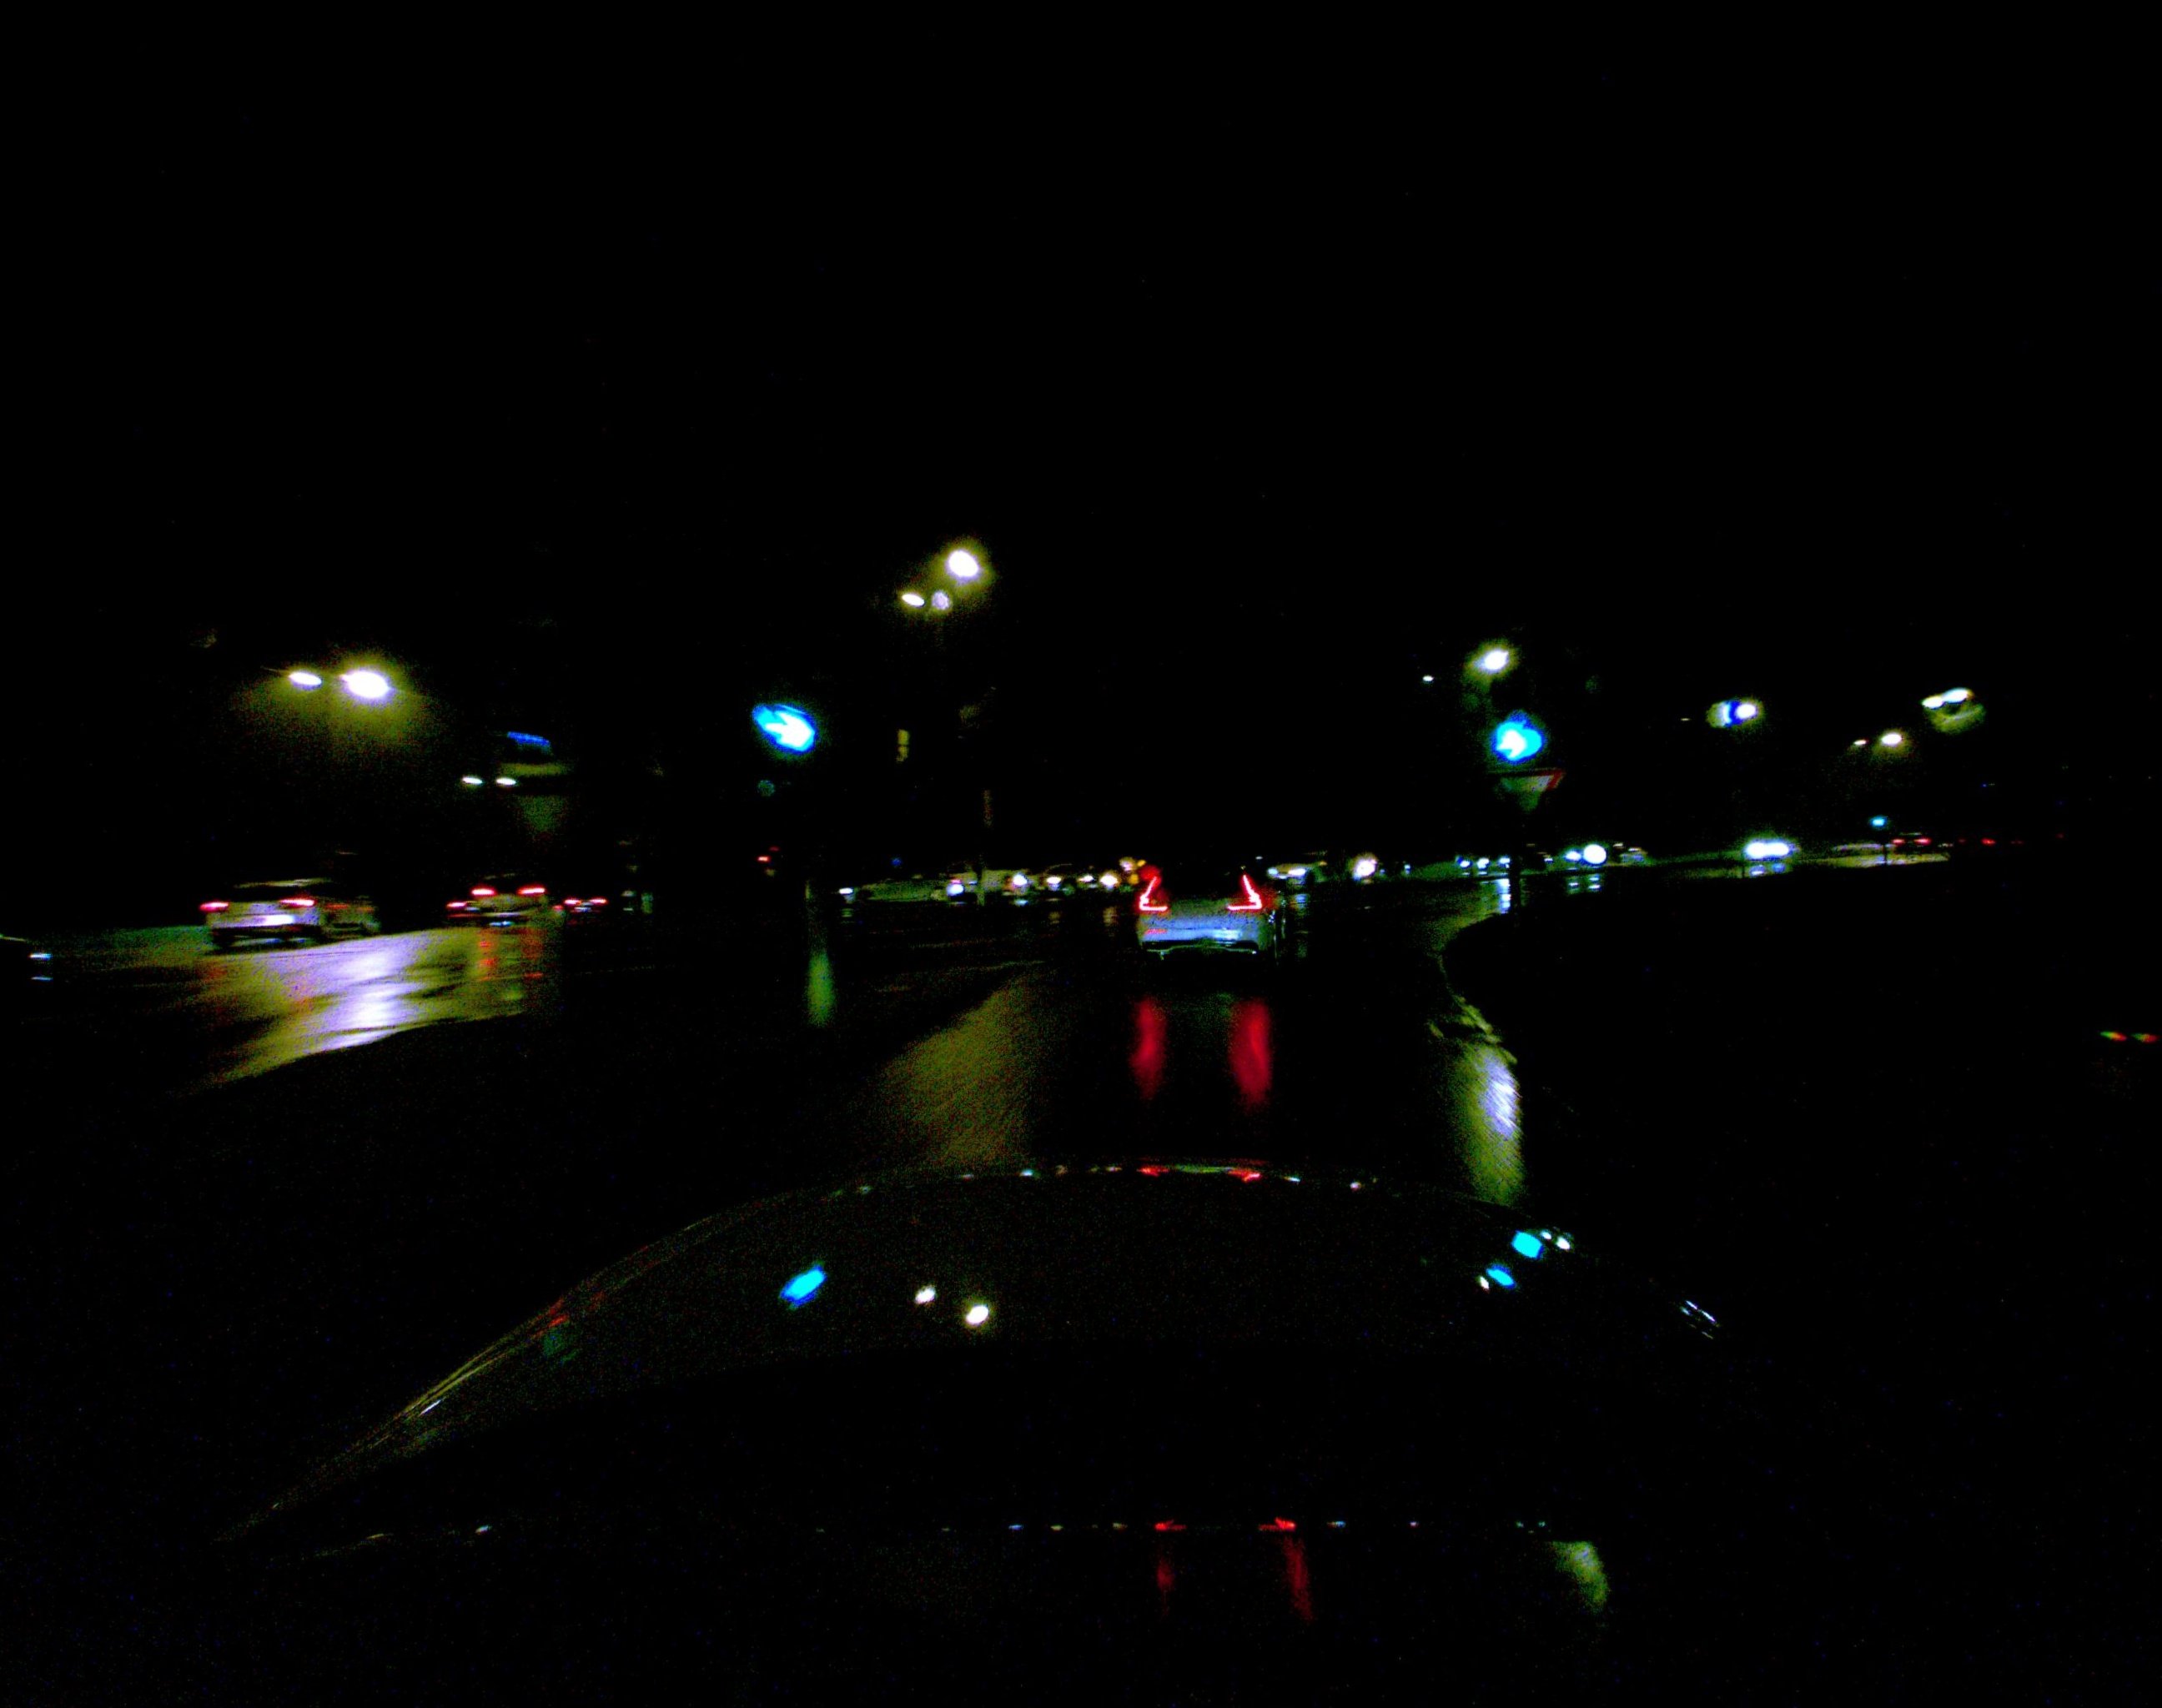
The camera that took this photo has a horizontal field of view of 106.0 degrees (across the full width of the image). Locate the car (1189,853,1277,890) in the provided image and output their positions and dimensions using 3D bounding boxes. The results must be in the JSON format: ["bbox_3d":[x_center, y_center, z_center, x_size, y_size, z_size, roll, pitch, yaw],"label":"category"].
[{"bbox_3d":[7.641,0.880,40.932,4.265,1.799,1.786,0,-2,-32],"label":"car"}]

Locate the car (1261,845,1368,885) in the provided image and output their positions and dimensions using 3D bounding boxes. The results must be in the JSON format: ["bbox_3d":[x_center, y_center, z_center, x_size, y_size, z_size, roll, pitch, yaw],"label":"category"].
[{"bbox_3d":[9.787,0.420,34.007,4.427,1.484,1.765,-1,1,-31],"label":"car"}]

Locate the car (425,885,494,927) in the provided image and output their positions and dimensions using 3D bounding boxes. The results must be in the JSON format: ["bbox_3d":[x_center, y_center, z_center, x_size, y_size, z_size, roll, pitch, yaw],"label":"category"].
[{"bbox_3d":[-26.646,2.181,35.041,1.922,1.658,3.946,-1,-2,-31],"label":"car"}]

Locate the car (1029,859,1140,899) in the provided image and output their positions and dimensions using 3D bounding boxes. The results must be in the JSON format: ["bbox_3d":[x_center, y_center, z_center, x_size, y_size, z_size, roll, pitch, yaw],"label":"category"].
[{"bbox_3d":[0.143,0.978,32.124,4.068,1.487,1.702,0,-2,-29],"label":"car"}]

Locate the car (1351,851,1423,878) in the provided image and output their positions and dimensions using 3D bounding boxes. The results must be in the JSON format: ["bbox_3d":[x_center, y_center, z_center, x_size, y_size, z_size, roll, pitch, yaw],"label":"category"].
[{"bbox_3d":[17.510,0.611,46.602,4.054,1.377,1.747,-2,-1,-33],"label":"car"}]

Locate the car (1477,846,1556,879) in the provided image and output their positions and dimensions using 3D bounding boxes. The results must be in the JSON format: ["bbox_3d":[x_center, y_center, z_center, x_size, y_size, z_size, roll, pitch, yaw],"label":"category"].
[{"bbox_3d":[23.164,0.443,43.311,4.322,1.578,1.799,-1,-2,-33],"label":"car"}]

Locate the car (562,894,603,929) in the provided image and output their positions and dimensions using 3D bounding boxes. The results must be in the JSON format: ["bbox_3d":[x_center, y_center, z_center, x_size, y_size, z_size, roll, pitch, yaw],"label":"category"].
[{"bbox_3d":[-28.133,3.197,46.033,1.840,1.653,4.435,1,-1,-31],"label":"car"}]

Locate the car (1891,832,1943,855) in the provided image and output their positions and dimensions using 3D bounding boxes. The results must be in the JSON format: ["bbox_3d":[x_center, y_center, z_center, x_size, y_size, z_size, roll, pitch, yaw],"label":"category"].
[{"bbox_3d":[64.532,-0.813,62.852,4.017,1.601,2.161,1,2,-36],"label":"car"}]

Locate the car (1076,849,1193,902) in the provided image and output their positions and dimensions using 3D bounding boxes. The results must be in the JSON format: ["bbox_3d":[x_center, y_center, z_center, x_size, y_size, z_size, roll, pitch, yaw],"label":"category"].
[{"bbox_3d":[1.972,0.731,29.605,3.914,1.725,1.748,-1,0,-30],"label":"car"}]

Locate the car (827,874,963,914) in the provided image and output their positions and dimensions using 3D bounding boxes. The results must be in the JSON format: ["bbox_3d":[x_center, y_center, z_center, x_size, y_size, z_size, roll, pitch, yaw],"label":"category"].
[{"bbox_3d":[-7.148,1.503,31.443,4.819,1.427,1.748,0,-2,-32],"label":"car"}]

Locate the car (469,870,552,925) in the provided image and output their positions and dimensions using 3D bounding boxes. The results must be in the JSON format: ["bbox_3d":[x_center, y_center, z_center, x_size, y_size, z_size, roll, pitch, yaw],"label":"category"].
[{"bbox_3d":[-18.049,1.340,25.925,1.862,1.592,3.983,0,-2,-31],"label":"car"}]

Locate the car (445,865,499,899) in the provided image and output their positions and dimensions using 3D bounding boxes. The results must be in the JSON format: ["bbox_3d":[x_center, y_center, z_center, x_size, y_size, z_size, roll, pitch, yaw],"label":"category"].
[{"bbox_3d":[-38.717,1.779,51.908,1.783,2.079,3.969,1,-2,-23],"label":"car"}]

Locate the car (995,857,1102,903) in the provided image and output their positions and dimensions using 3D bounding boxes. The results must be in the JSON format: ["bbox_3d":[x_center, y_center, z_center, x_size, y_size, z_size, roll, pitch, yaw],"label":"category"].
[{"bbox_3d":[-1.367,1.099,35.015,4.299,1.848,1.747,0,-2,-32],"label":"car"}]

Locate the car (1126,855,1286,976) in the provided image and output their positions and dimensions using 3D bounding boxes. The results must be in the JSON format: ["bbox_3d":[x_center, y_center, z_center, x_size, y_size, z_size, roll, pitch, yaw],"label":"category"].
[{"bbox_3d":[2.043,0.752,12.158,1.782,1.452,4.287,-1,0,16],"label":"car"}]

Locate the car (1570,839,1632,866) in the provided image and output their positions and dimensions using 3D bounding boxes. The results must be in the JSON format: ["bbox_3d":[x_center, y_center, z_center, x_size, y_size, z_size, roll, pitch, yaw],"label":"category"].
[{"bbox_3d":[34.607,-0.084,54.212,4.504,1.666,1.786,1,-1,-33],"label":"car"}]

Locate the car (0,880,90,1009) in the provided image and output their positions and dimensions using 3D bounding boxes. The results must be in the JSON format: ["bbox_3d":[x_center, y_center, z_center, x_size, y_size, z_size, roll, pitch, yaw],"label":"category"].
[{"bbox_3d":[-12.541,1.004,7.885,1.836,1.408,4.094,0,-1,-19],"label":"car"}]

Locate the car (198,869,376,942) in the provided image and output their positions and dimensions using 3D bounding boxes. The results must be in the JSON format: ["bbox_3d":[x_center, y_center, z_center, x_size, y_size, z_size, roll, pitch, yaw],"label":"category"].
[{"bbox_3d":[-18.158,1.105,18.883,1.746,1.436,4.252,1,-1,-27],"label":"car"}]

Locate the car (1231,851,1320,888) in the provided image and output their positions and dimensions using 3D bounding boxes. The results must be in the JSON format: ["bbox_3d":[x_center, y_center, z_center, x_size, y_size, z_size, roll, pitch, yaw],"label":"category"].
[{"bbox_3d":[9.107,0.739,38.130,3.991,1.666,1.786,0,-2,-32],"label":"car"}]

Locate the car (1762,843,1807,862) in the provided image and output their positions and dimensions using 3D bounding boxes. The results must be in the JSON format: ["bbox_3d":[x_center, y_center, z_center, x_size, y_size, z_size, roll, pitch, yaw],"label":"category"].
[{"bbox_3d":[62.397,-0.113,72.240,4.447,1.530,1.870,1,-1,-33],"label":"car"}]

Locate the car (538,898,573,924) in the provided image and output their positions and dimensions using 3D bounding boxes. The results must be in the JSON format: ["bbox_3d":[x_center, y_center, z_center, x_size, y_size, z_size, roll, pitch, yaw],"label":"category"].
[{"bbox_3d":[-37.845,4.083,58.737,1.839,1.640,3.963,2,-1,-29],"label":"car"}]

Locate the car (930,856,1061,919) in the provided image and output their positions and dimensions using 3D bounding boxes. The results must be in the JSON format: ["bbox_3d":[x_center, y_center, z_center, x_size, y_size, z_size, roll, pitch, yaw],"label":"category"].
[{"bbox_3d":[-3.919,1.499,37.671,5.620,2.710,2.237,0,-2,-27],"label":"car"}]

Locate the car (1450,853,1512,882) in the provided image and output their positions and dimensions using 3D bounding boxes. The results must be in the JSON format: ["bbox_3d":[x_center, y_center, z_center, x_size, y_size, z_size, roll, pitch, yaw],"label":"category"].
[{"bbox_3d":[26.343,0.880,53.568,4.014,1.849,1.811,1,-2,-32],"label":"car"}]
